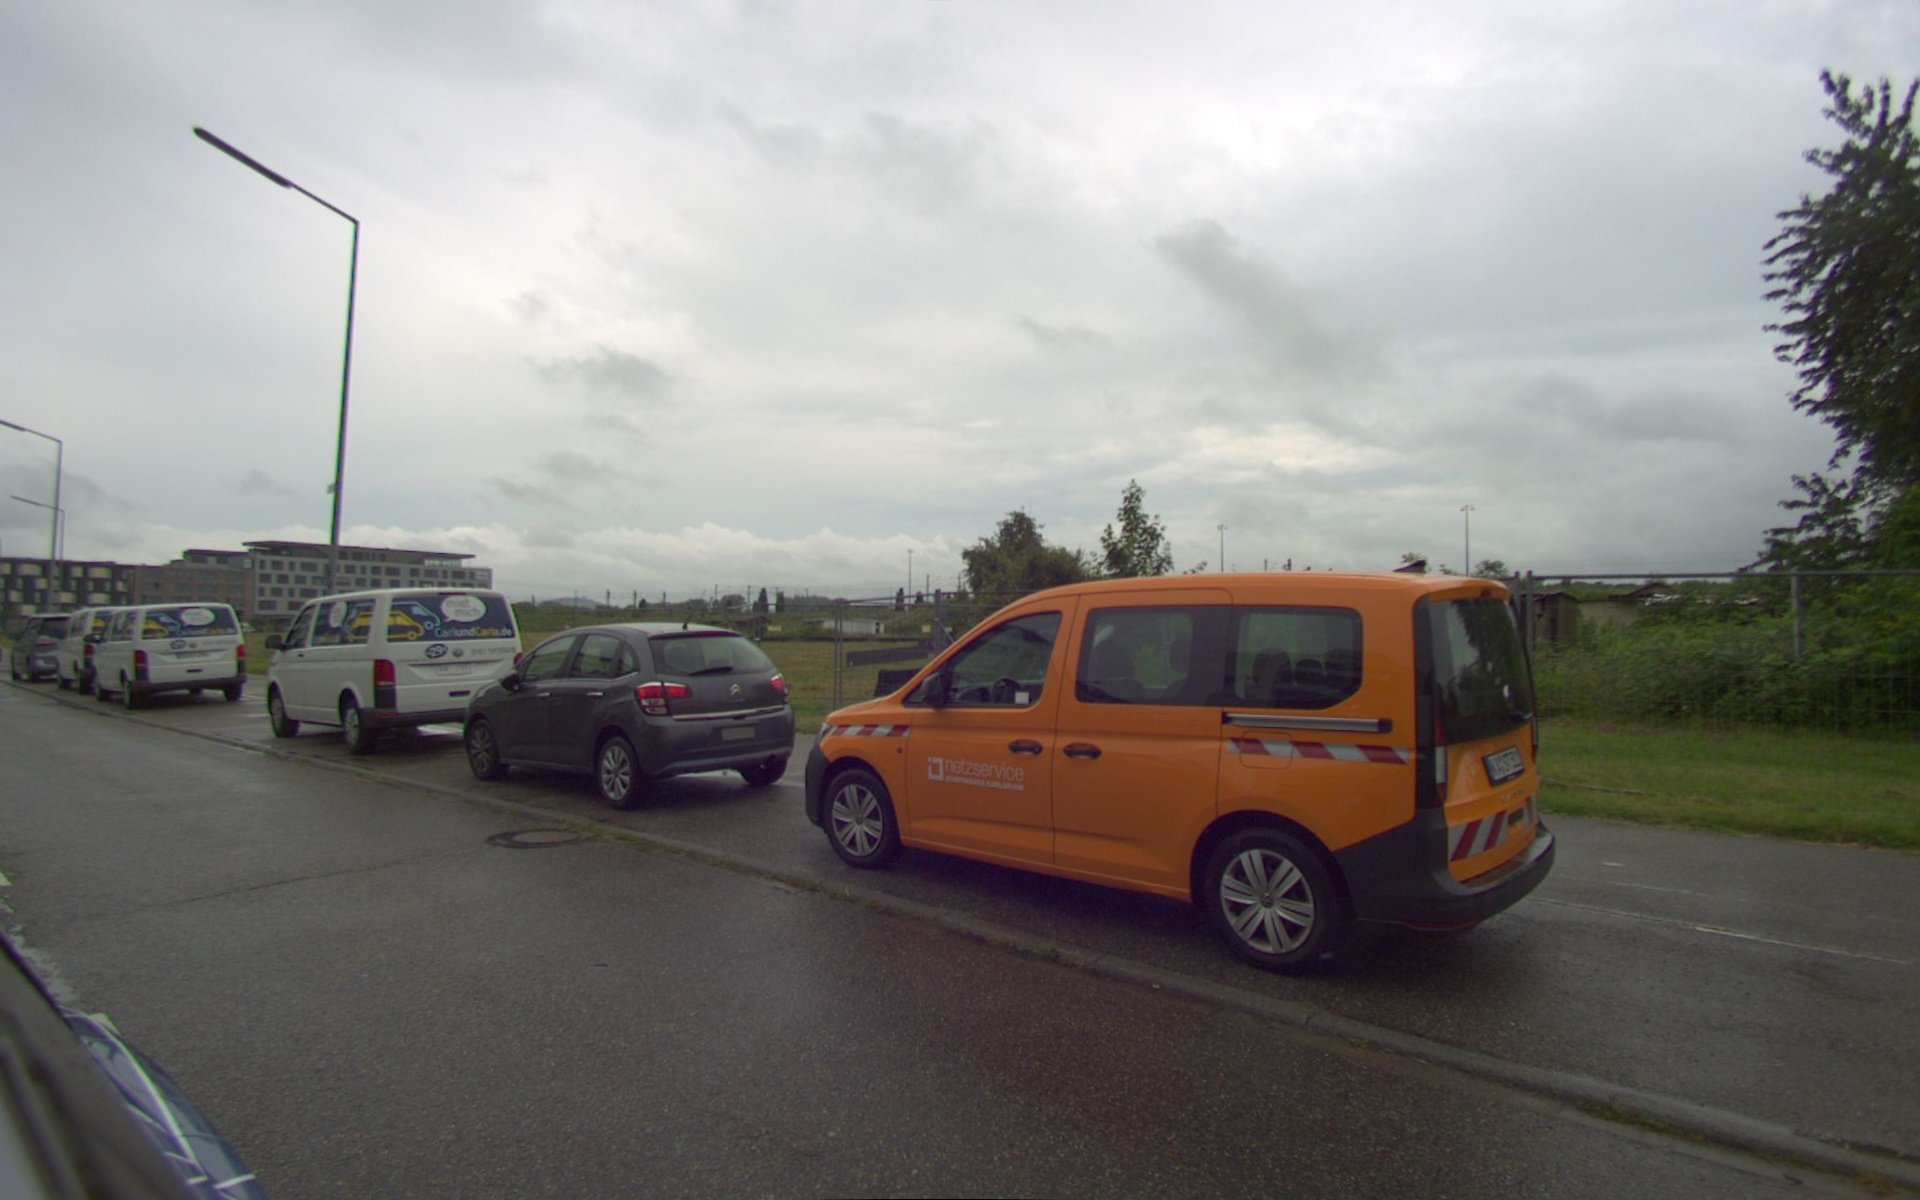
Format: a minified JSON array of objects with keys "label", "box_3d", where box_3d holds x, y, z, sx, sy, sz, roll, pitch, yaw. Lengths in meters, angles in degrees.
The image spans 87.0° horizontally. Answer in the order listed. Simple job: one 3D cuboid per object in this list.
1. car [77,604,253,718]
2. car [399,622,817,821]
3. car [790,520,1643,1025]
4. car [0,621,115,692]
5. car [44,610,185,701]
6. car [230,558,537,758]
[{"label":"car","box_3d":[-16.406,1.164,20.779,5.272,2.074,1.939,-2,-2,42]},{"label":"car","box_3d":[-3.659,0.985,9.961,4.889,1.513,1.666,-1,-2,41]},{"label":"car","box_3d":[1.136,0.666,5.772,4.331,1.781,1.919,-1,-2,43]},{"label":"car","box_3d":[-26.484,1.585,29.602,4.992,1.916,1.935,-2,-2,41]},{"label":"car","box_3d":[-20.945,1.316,24.976,5.255,2.029,1.875,-2,-2,42]},{"label":"car","box_3d":[-8.094,0.731,13.931,5.554,2.253,1.922,-2,-2,41]}]
